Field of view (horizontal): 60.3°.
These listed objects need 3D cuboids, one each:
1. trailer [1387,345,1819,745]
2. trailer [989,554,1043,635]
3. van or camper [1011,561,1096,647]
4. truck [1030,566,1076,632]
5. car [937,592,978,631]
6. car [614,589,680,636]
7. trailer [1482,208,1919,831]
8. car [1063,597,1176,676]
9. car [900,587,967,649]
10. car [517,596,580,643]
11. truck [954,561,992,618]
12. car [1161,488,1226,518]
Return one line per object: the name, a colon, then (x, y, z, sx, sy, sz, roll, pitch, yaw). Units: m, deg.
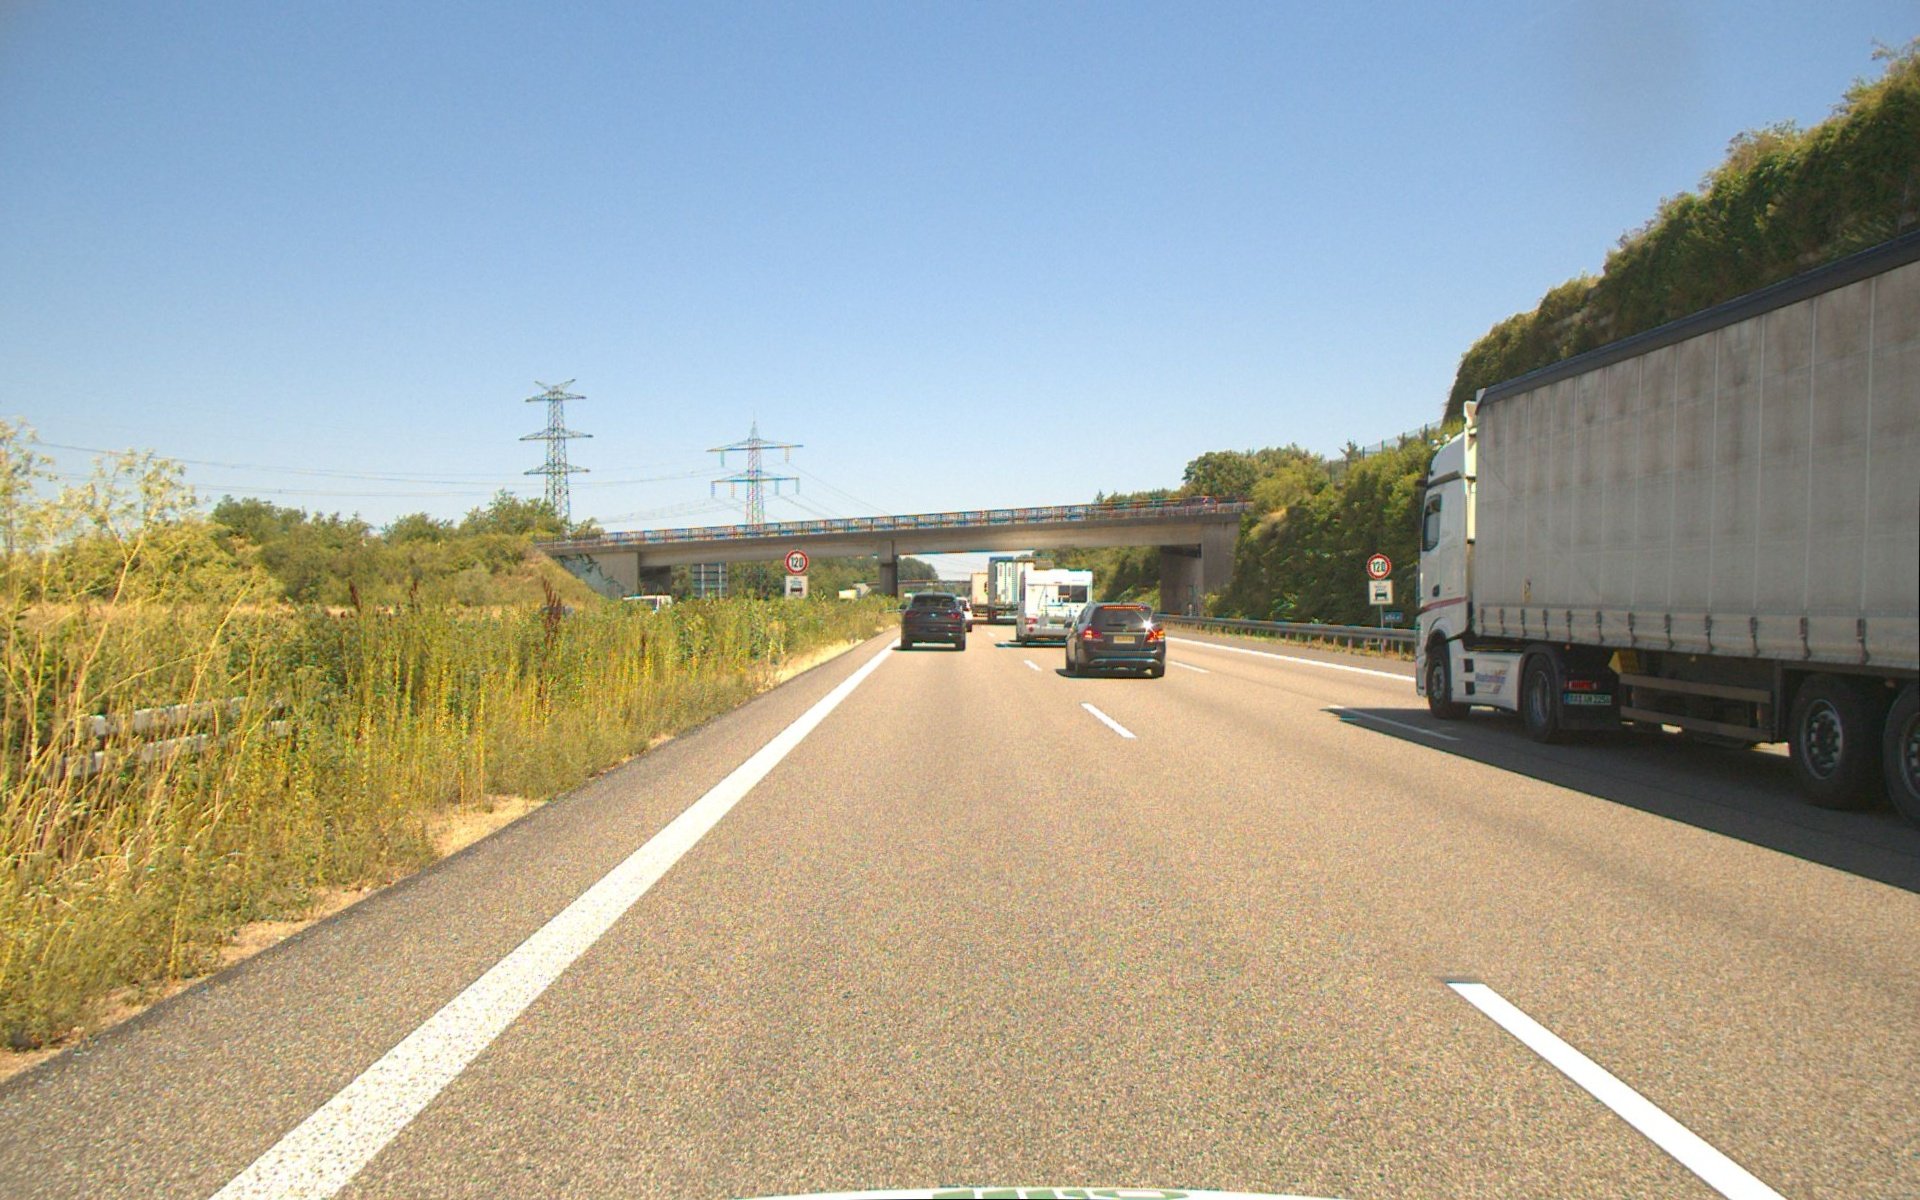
trailer: (7.594, -0.575, 20.665, 2.658, 4.174, 6.787, 0, 0, -1)
trailer: (3.595, -0.279, 109.048, 3.024, 4.970, 12.257, 1, 0, 0)
van or camper: (3.102, 0.117, 56.355, 2.389, 2.721, 6.348, -1, 0, -1)
truck: (7.236, -0.059, 130.035, 3.024, 4.970, 8.797, 1, 0, 0)
car: (-0.152, 0.548, 81.115, 1.922, 1.846, 4.448, -1, 0, -1)
car: (-13.873, 0.531, 73.603, 1.956, 2.021, 5.837, 0, 0, -1)
trailer: (7.739, -0.540, 13.353, 2.673, 4.174, 13.186, 0, 0, -1)
car: (3.269, 0.710, 34.719, 1.804, 1.532, 4.737, -1, 0, -1)
car: (-0.823, 0.519, 50.675, 1.953, 1.803, 3.999, -1, 0, -1)
car: (-18.290, 0.829, 73.614, 1.857, 2.013, 3.986, 0, 0, -1)
truck: (1.224, -0.975, 159.104, 3.440, 5.257, 10.258, 1, 0, 0)
car: (15.865, -6.567, 112.406, 3.914, 1.680, 1.995, -2, -2, 32)
